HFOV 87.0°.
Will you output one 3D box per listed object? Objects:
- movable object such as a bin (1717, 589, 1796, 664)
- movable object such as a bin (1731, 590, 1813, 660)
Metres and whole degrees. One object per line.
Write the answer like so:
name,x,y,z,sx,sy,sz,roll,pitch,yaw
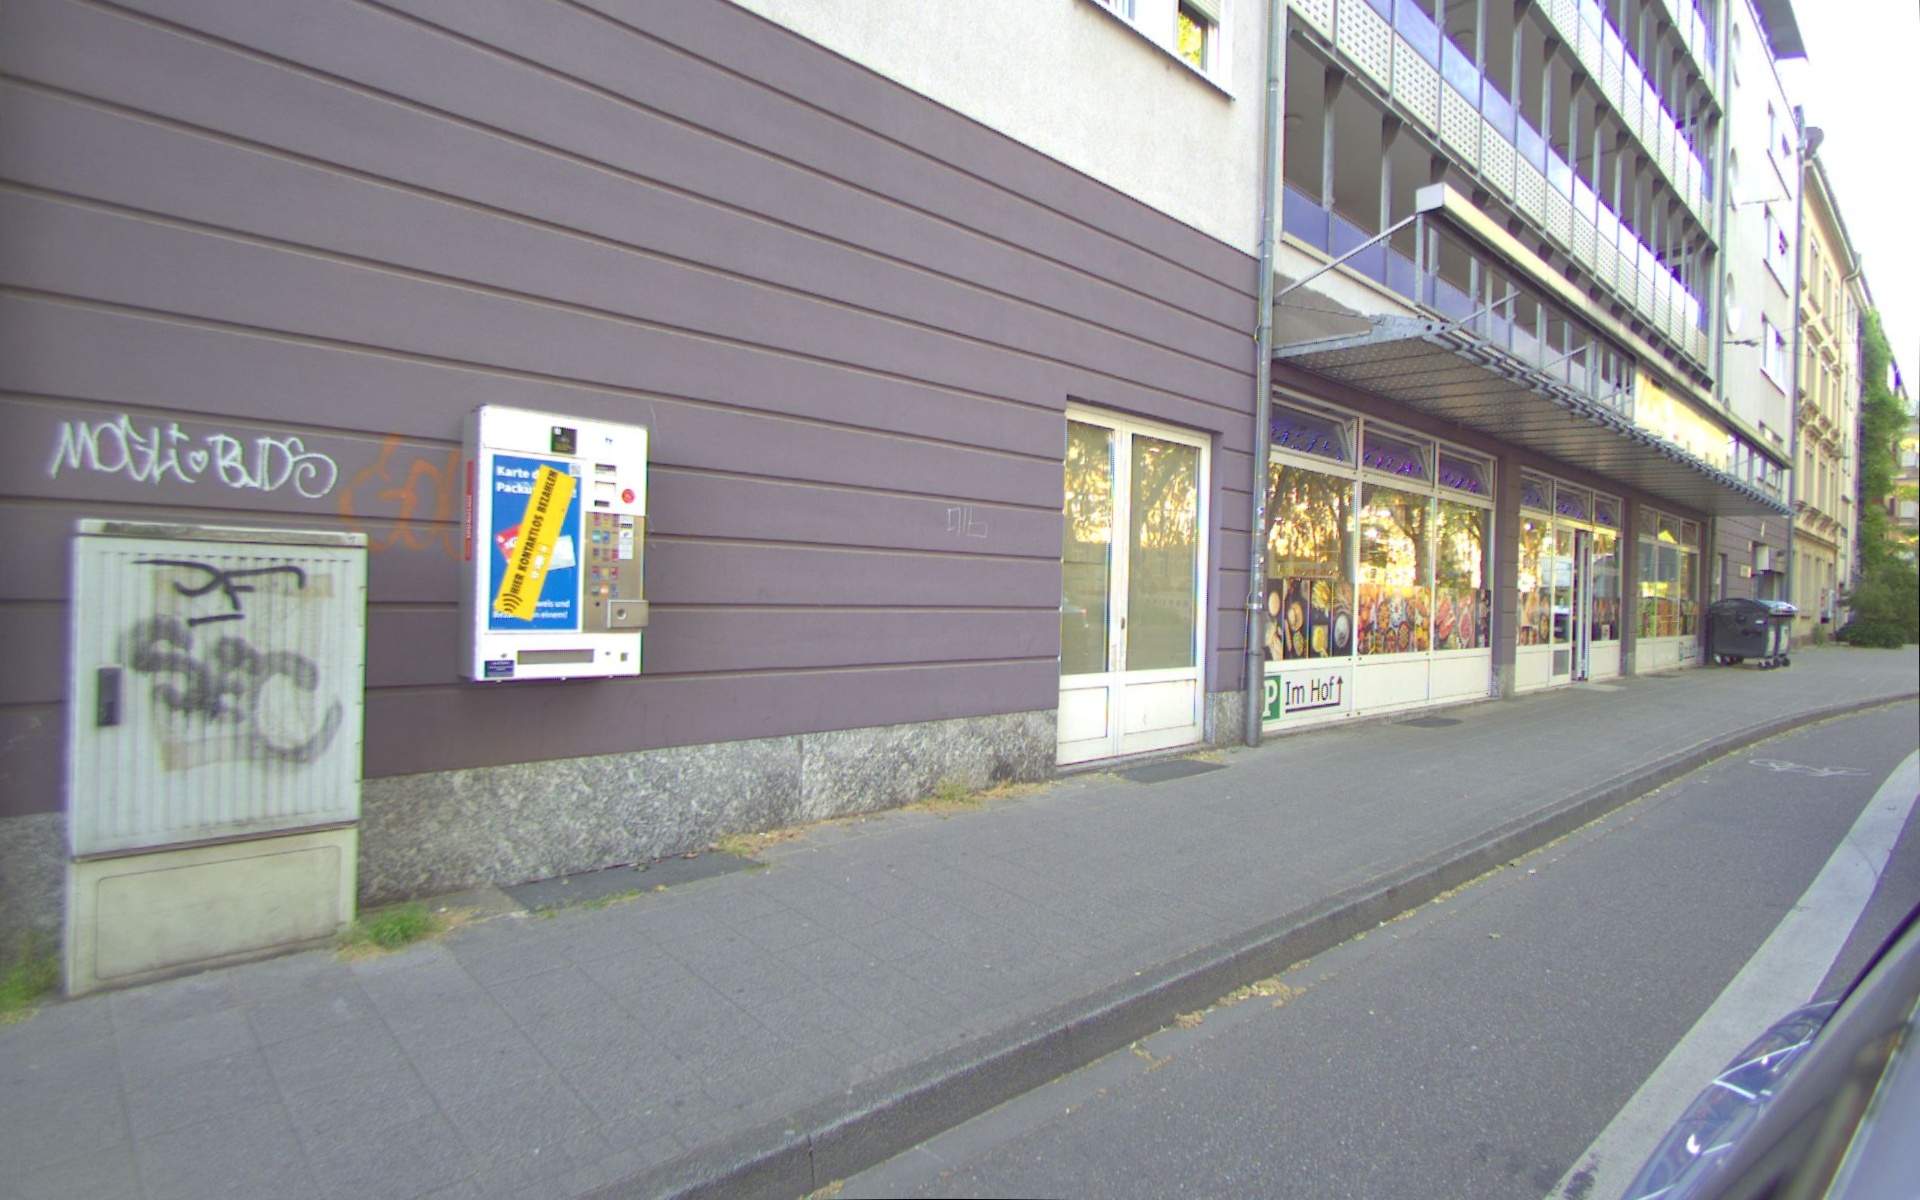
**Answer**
movable object such as a bin,16.441,0.515,20.886,1.274,1.465,1.068,1,1,-42
movable object such as a bin,17.790,0.523,22.173,1.282,1.464,1.123,1,1,-38
